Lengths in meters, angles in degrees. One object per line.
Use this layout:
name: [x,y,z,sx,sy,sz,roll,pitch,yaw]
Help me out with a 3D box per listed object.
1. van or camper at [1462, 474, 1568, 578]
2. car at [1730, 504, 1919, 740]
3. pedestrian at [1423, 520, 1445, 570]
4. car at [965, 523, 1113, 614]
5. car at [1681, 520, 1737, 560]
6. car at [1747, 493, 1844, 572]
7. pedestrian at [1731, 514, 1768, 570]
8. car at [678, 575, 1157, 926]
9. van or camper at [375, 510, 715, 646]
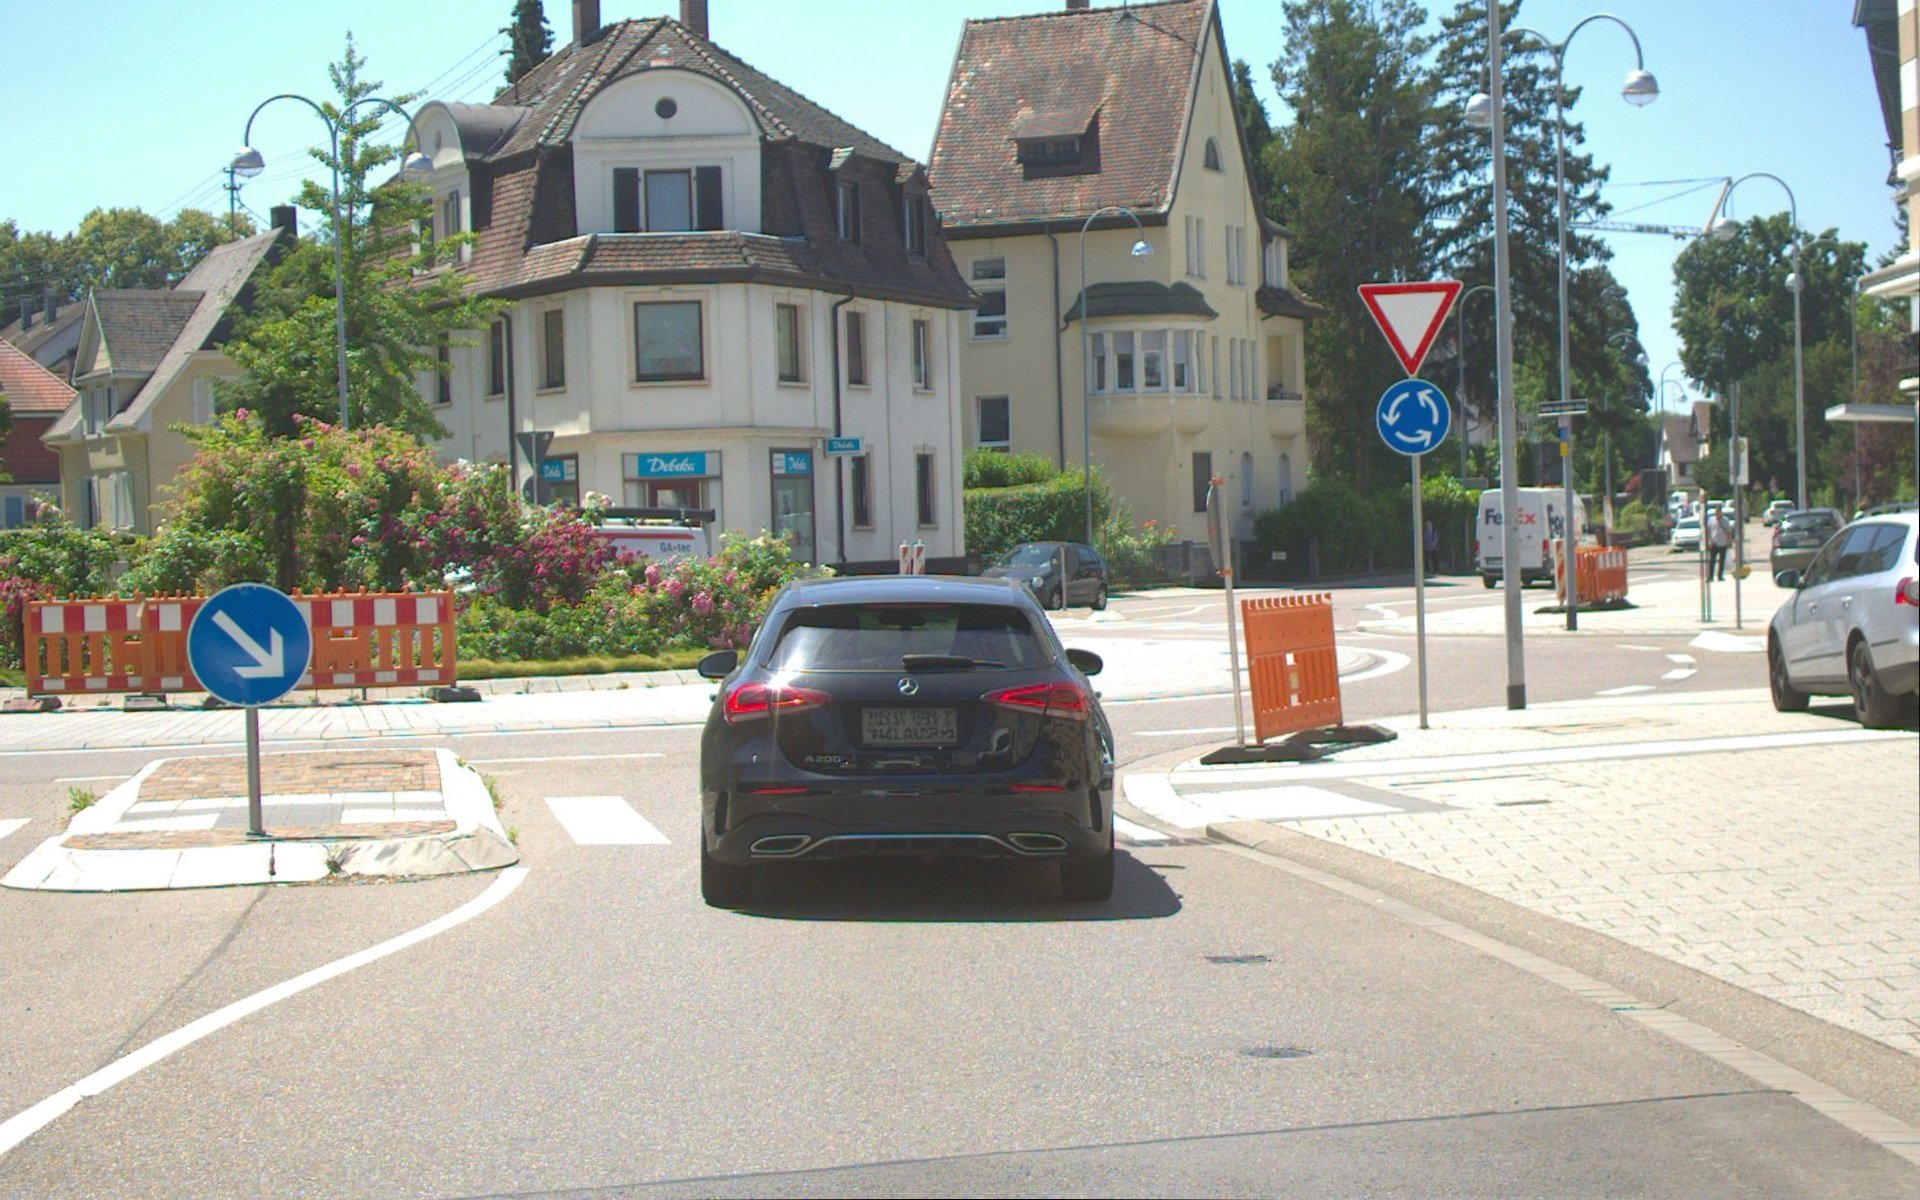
van or camper: [14.416,-1.925,89.173,2.207,2.601,3.997,-1,1,16]
car: [6.939,0.096,24.661,1.764,1.525,4.690,-3,0,1]
pedestrian: [14.448,-1.681,104.755,0.523,1.504,0.473,-1,1,24]
car: [1.622,-0.647,69.411,1.922,1.766,3.997,1,1,18]
car: [31.877,-2.558,146.237,1.995,1.645,3.997,-1,1,17]
car: [17.804,-1.451,73.170,1.641,1.502,3.561,-4,1,18]
pedestrian: [19.252,-1.414,83.822,0.667,1.281,0.586,-5,0,26]
car: [-0.223,0.609,16.098,1.953,1.422,4.000,0,0,-1]
van or camper: [-6.909,-0.407,57.621,5.397,2.164,1.999,-1,1,-39]
